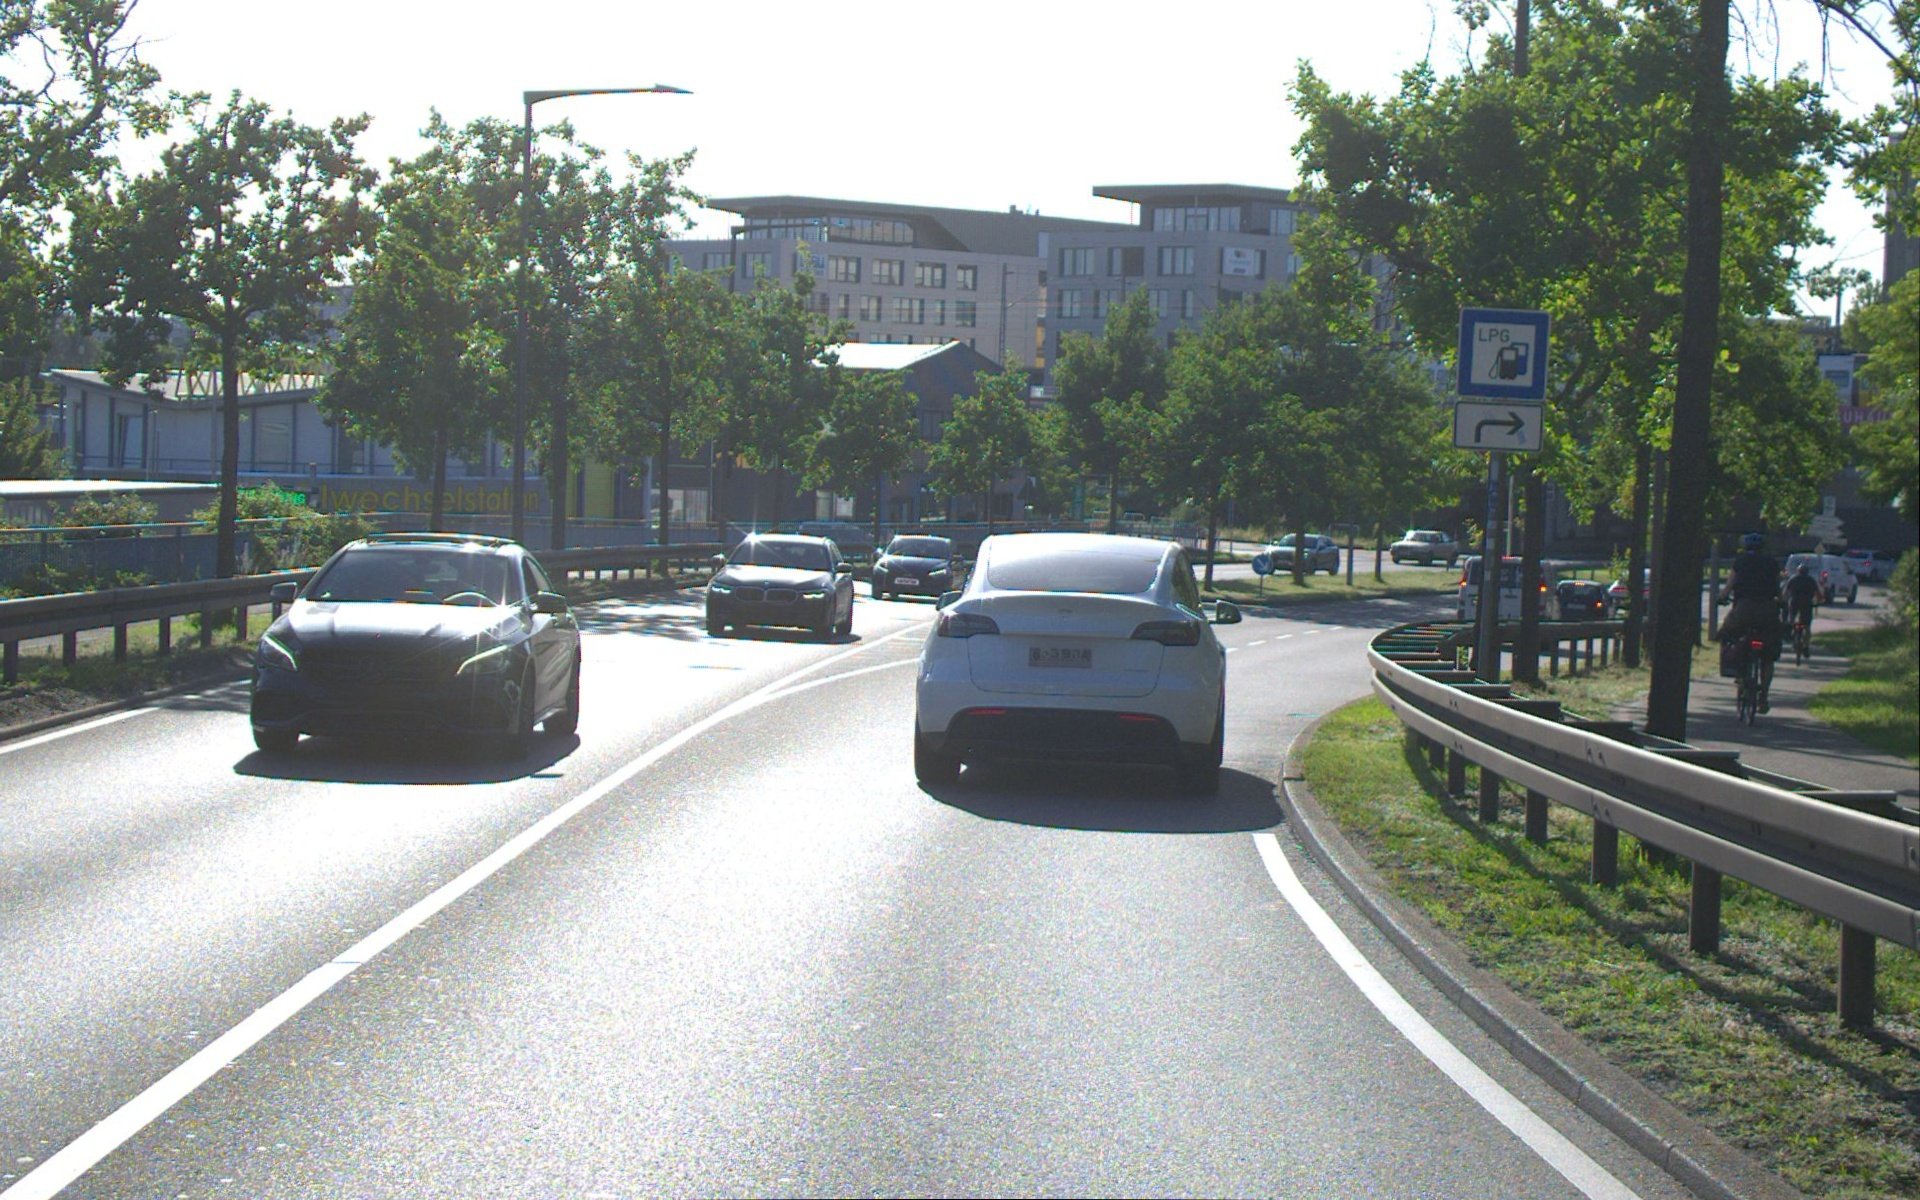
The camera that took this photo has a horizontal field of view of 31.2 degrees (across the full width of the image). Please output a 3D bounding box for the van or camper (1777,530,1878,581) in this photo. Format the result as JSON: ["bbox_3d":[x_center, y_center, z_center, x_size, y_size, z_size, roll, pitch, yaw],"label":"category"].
[{"bbox_3d":[33.500,-1.715,132.700,1.830,1.784,4.534,6,4,41],"label":"van or camper"}]

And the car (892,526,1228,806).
[{"bbox_3d":[0.762,0.345,22.747,1.914,1.635,4.409,1,1,5],"label":"car"}]

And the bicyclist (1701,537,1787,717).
[{"bbox_3d":[7.028,0.229,30.801,0.708,1.573,1.004,1,1,13],"label":"bicyclist"}]

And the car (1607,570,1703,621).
[{"bbox_3d":[22.952,-0.163,113.433,1.766,1.470,4.282,5,3,30],"label":"car"}]

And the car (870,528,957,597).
[{"bbox_3d":[-1.016,-0.852,77.088,1.664,1.440,3.849,2,1,3],"label":"car"}]

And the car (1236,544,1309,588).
[{"bbox_3d":[11.650,-1.246,127.923,1.764,1.484,4.273,4,1,17],"label":"car"}]

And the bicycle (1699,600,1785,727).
[{"bbox_3d":[6.976,0.555,30.616,0.701,1.071,1.920,1,0,14],"label":"bicycle"}]

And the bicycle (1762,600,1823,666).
[{"bbox_3d":[14.641,0.567,60.434,0.696,1.091,2.115,2,1,23],"label":"bicycle"}]

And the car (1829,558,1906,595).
[{"bbox_3d":[40.474,-1.046,153.304,1.712,1.517,3.733,6,4,42],"label":"car"}]

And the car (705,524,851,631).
[{"bbox_3d":[-2.674,-0.375,51.460,1.809,1.491,4.369,1,1,2],"label":"car"}]

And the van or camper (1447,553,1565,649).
[{"bbox_3d":[11.463,-0.018,71.908,1.960,1.877,4.877,1,1,14],"label":"van or camper"}]

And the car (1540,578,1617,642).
[{"bbox_3d":[16.801,0.257,93.340,1.605,1.429,3.676,4,4,16],"label":"car"}]

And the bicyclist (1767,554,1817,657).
[{"bbox_3d":[14.597,0.083,60.315,0.676,1.770,0.947,2,1,23],"label":"bicyclist"}]

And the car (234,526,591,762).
[{"bbox_3d":[-3.651,0.229,23.609,1.691,1.436,4.216,1,1,1],"label":"car"}]

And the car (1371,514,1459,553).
[{"bbox_3d":[19.485,-2.840,147.196,1.733,1.380,4.487,5,2,36],"label":"car"}]
